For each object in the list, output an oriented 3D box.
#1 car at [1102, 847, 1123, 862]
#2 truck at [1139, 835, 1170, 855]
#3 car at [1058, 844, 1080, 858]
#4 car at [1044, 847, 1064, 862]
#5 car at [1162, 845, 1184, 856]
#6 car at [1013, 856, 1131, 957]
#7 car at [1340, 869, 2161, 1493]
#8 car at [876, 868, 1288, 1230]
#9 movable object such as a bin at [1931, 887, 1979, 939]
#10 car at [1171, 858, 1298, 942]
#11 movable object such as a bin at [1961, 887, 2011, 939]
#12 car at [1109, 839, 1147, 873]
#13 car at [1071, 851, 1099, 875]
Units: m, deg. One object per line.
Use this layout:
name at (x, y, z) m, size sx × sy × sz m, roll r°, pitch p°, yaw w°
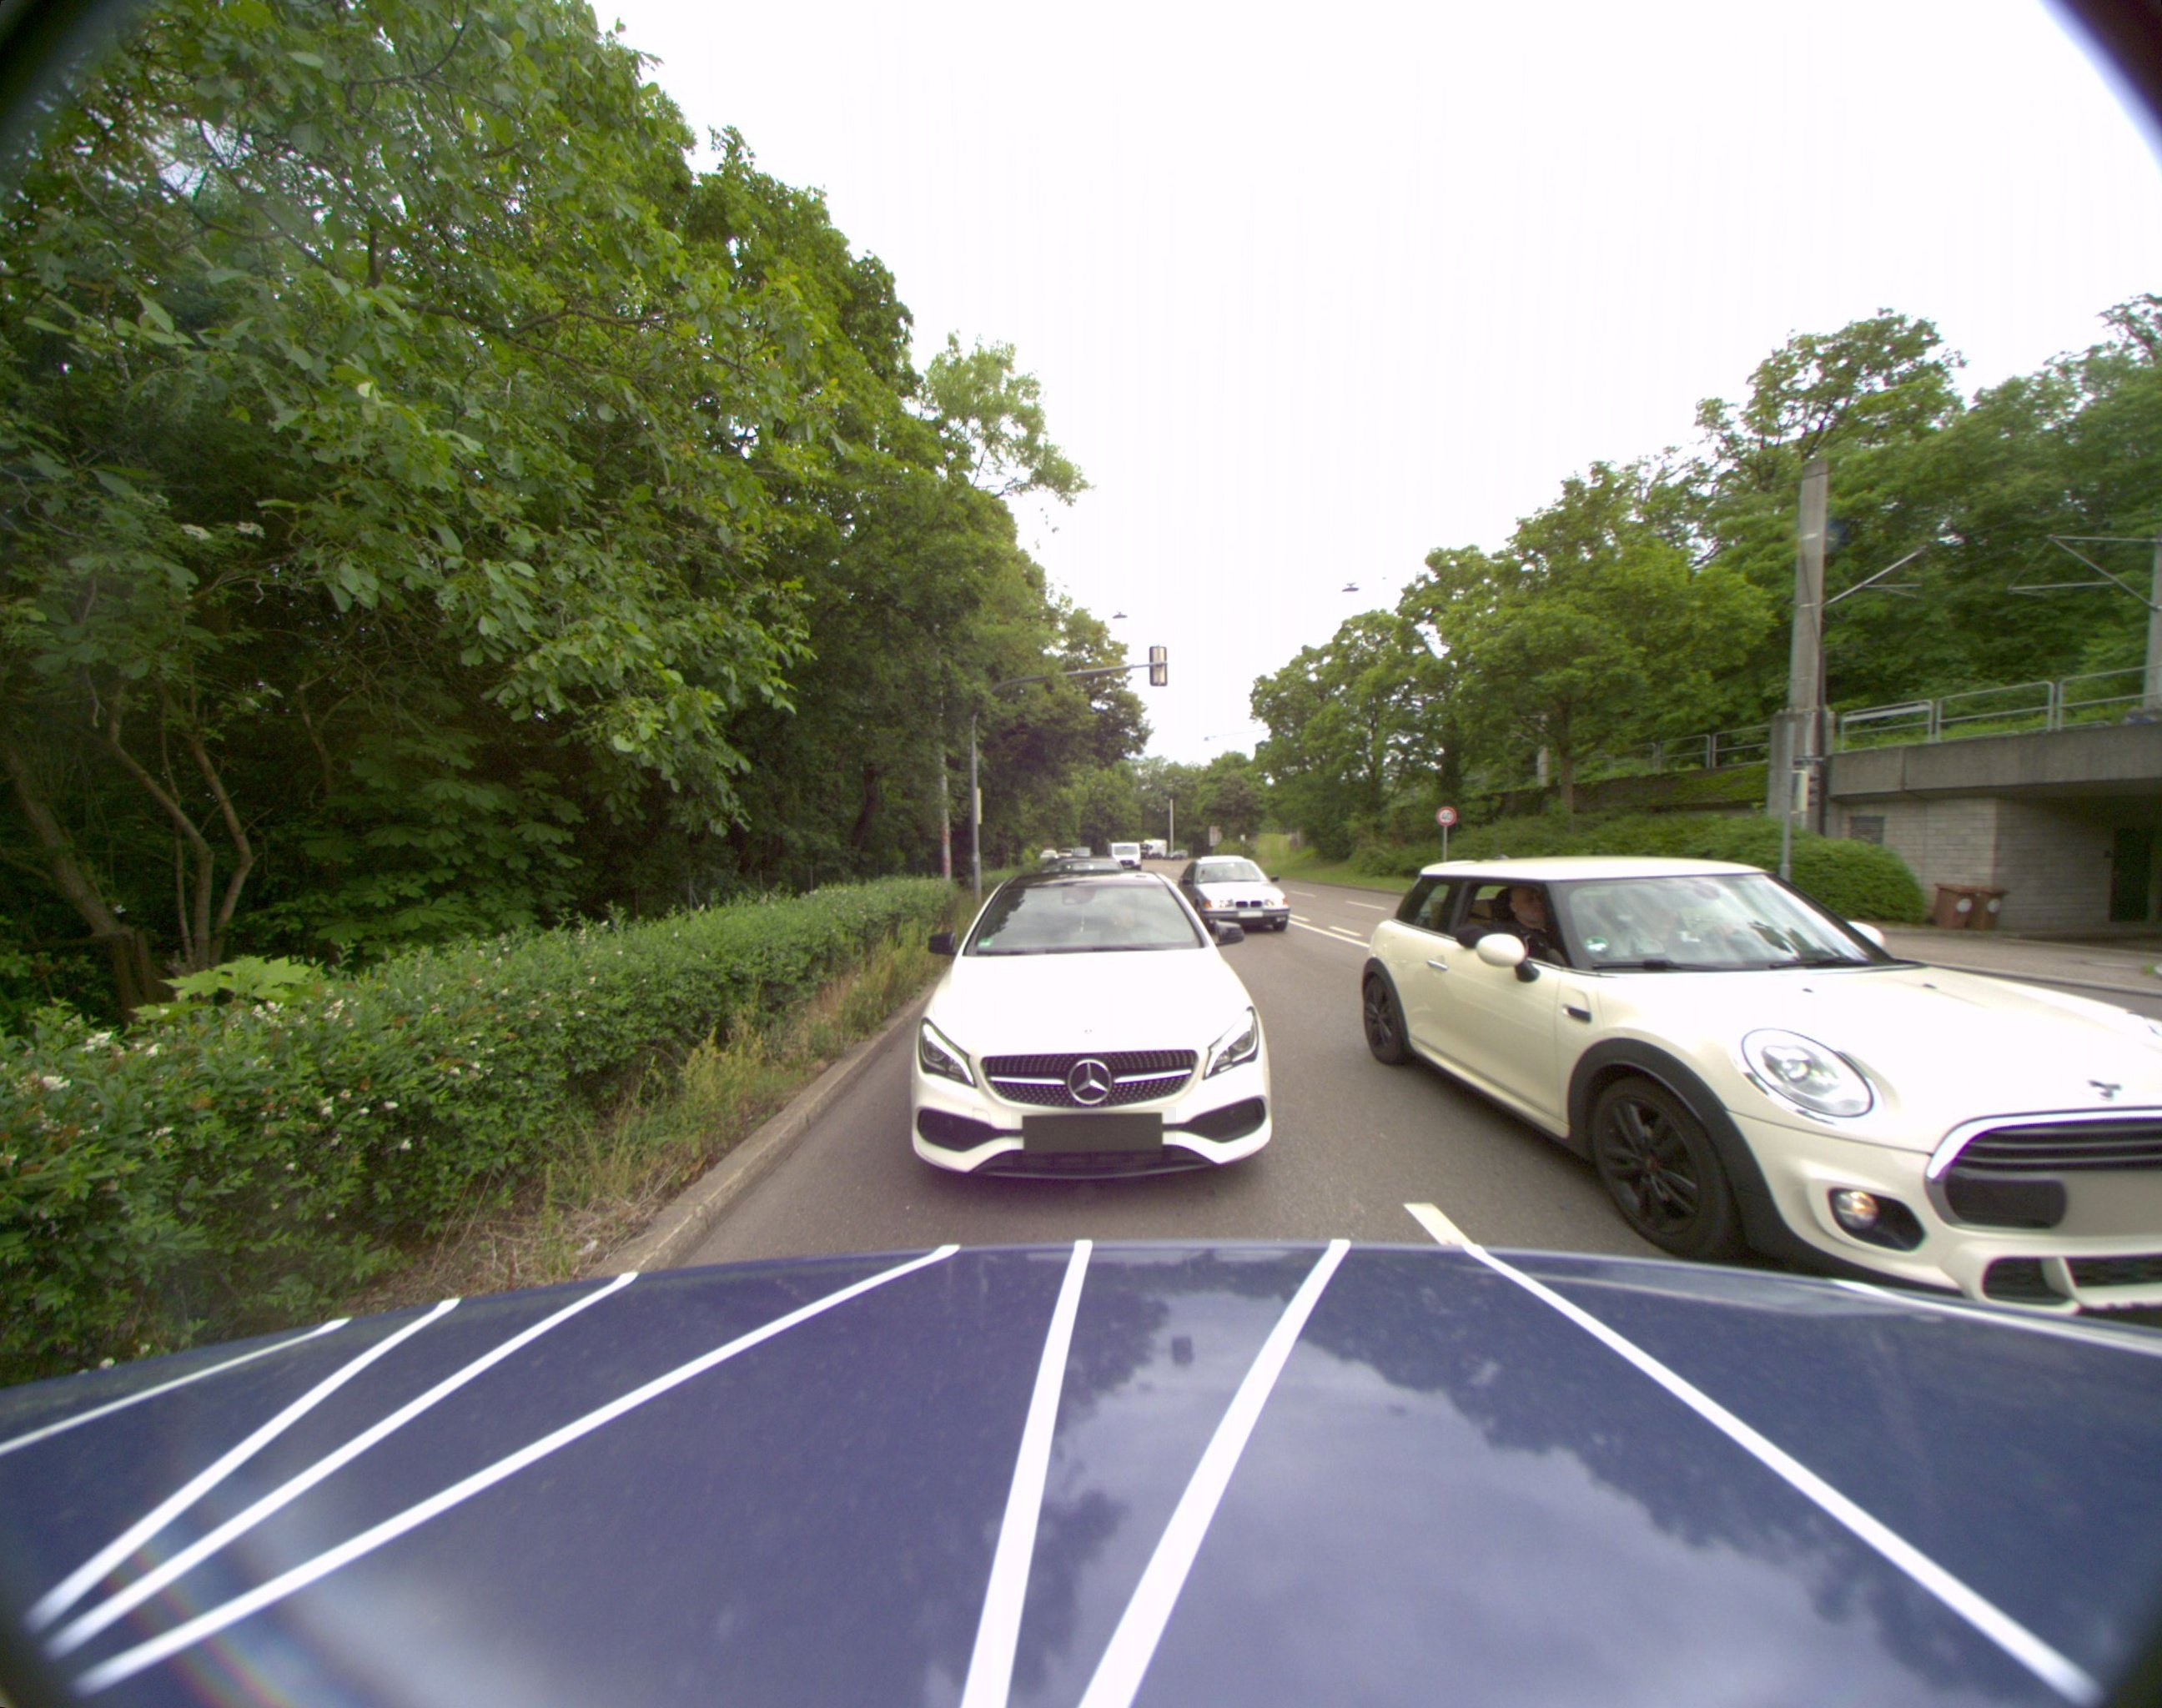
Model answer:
car at (3.623, 0.034, 87.281) m, size 1.852 × 1.641 × 4.360 m, roll 1°, pitch 0°, yaw 9°
truck at (11.923, -1.451, 122.792) m, size 2.195 × 3.137 × 6.665 m, roll 2°, pitch 1°, yaw 33°
car at (-1.385, -0.308, 90.068) m, size 1.754 × 1.575 × 4.013 m, roll 1°, pitch 0°, yaw 10°
car at (-2.624, 0.068, 74.851) m, size 1.765 × 1.433 × 3.891 m, roll 1°, pitch 0°, yaw 0°
car at (14.697, -0.512, 121.661) m, size 1.850 × 1.641 × 4.366 m, roll 1°, pitch 1°, yaw 31°
car at (-0.151, 0.817, 13.800) m, size 1.755 × 1.417 × 4.009 m, roll 3°, pitch 1°, yaw 0°
car at (2.790, 0.847, 3.755) m, size 1.688 × 1.415 × 3.732 m, roll -1°, pitch 0°, yaw -1°
car at (0.030, 0.920, 5.436) m, size 1.801 × 1.470 × 4.010 m, roll -2°, pitch 0°, yaw 1°
movable object such as a bin at (18.368, 1.232, 15.970) m, size 0.419 × 1.057 × 0.503 m, roll 0°, pitch 1°, yaw -4°
car at (2.939, 0.819, 15.395) m, size 1.664 × 1.382 × 4.182 m, roll -1°, pitch 0°, yaw -1°
movable object such as a bin at (19.049, 1.232, 16.000) m, size 0.419 × 1.057 × 0.503 m, roll 0°, pitch 1°, yaw -4°
car at (3.232, 0.132, 53.822) m, size 2.285 × 2.187 × 6.458 m, roll -1°, pitch 0°, yaw 0°
car at (0.236, 0.570, 49.810) m, size 1.765 × 1.433 × 3.891 m, roll 1°, pitch 0°, yaw -1°
